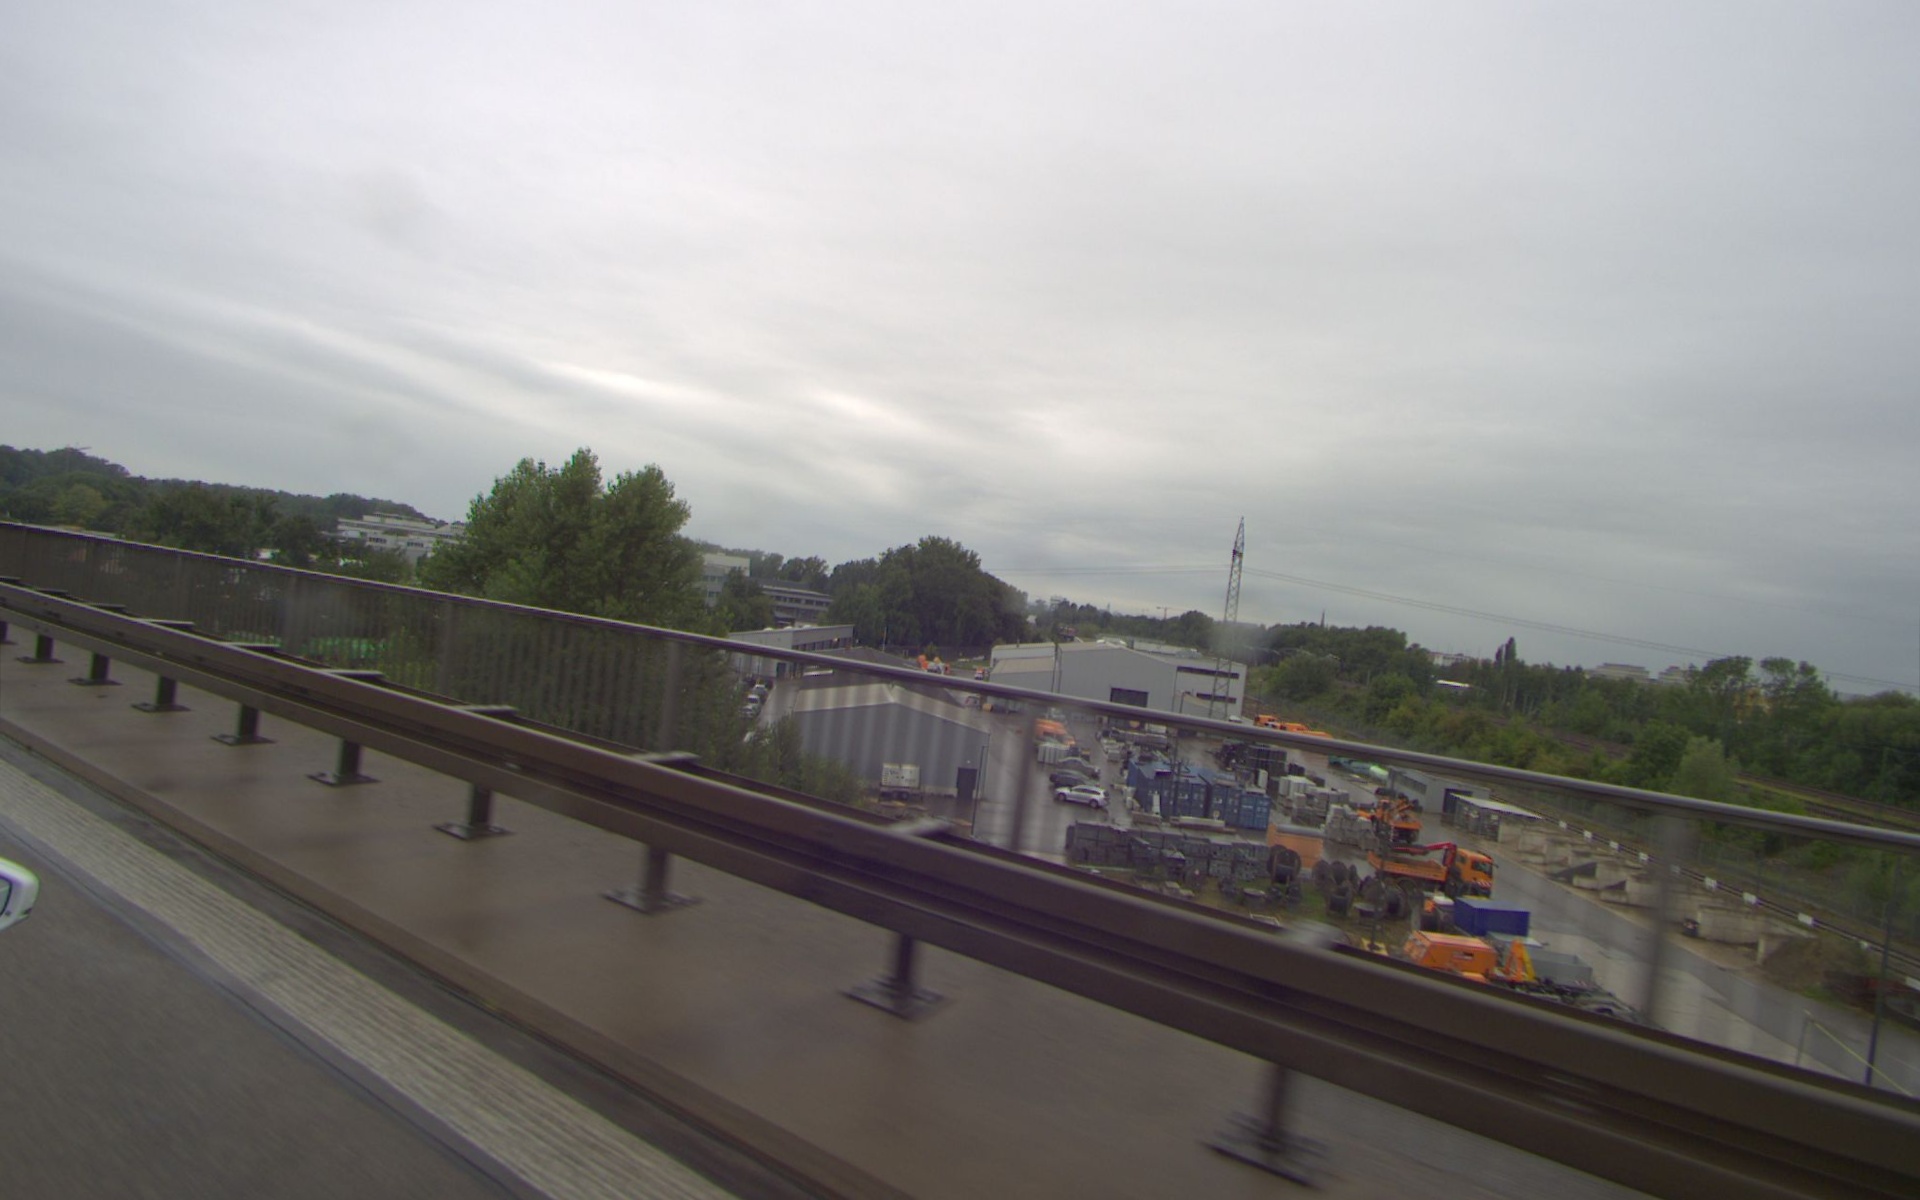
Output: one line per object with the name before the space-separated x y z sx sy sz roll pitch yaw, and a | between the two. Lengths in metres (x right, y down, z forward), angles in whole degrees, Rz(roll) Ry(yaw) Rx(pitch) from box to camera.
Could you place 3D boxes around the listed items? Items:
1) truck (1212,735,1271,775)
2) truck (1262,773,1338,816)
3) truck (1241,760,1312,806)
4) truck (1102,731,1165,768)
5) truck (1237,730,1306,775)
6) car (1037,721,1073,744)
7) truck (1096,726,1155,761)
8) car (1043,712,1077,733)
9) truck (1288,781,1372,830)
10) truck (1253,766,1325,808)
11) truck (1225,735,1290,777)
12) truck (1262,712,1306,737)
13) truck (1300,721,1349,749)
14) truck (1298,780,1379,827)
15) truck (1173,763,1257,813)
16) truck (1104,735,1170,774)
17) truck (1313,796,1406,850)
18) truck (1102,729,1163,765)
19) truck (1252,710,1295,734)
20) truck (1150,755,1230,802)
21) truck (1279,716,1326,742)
truck | 35.325 19.452 126.356 6.468 3.854 2.105 7 -1 -1
truck | 33.841 19.350 100.219 6.468 3.221 2.105 7 -1 -1
truck | 33.882 19.605 107.788 6.468 3.854 2.105 7 -1 -1
truck | 19.810 17.065 115.161 6.468 3.221 2.105 7 -1 -1
truck | 34.108 16.661 110.255 6.468 3.854 2.105 7 -1 -1
car | 11.432 15.914 120.948 3.928 2.037 2.000 8 -1 -2
truck | 20.139 17.387 122.389 6.468 3.221 2.105 7 -1 -1
car | 12.740 15.656 128.687 3.928 2.037 2.000 8 -1 -2
truck | 33.279 18.518 90.631 6.468 3.221 2.105 7 -1 -1
truck | 34.139 19.456 104.577 6.468 3.221 2.105 7 -1 -1
truck | 34.214 17.941 115.883 6.468 3.854 2.105 7 -1 -1
truck | 53.425 20.469 165.757 6.485 3.221 2.100 8 -1 -14
truck | 53.428 19.759 147.521 6.485 3.221 2.100 8 -1 -14
truck | 35.375 19.008 94.064 6.468 3.221 2.105 7 -1 -1
truck | 22.067 16.248 87.166 6.468 3.221 2.105 7 -1 -1
truck | 19.226 16.768 109.475 6.468 3.221 2.105 7 -1 -1
truck | 32.709 18.205 82.406 6.468 3.221 2.105 7 -1 -1
truck | 20.212 17.240 118.318 6.468 3.221 2.105 7 -1 -1
truck | 52.663 20.496 169.089 6.485 3.221 2.100 8 -1 -14
truck | 20.937 16.282 91.832 6.468 3.221 2.105 7 -1 -1
truck | 53.262 20.088 156.454 6.485 3.221 2.100 8 -1 -14
